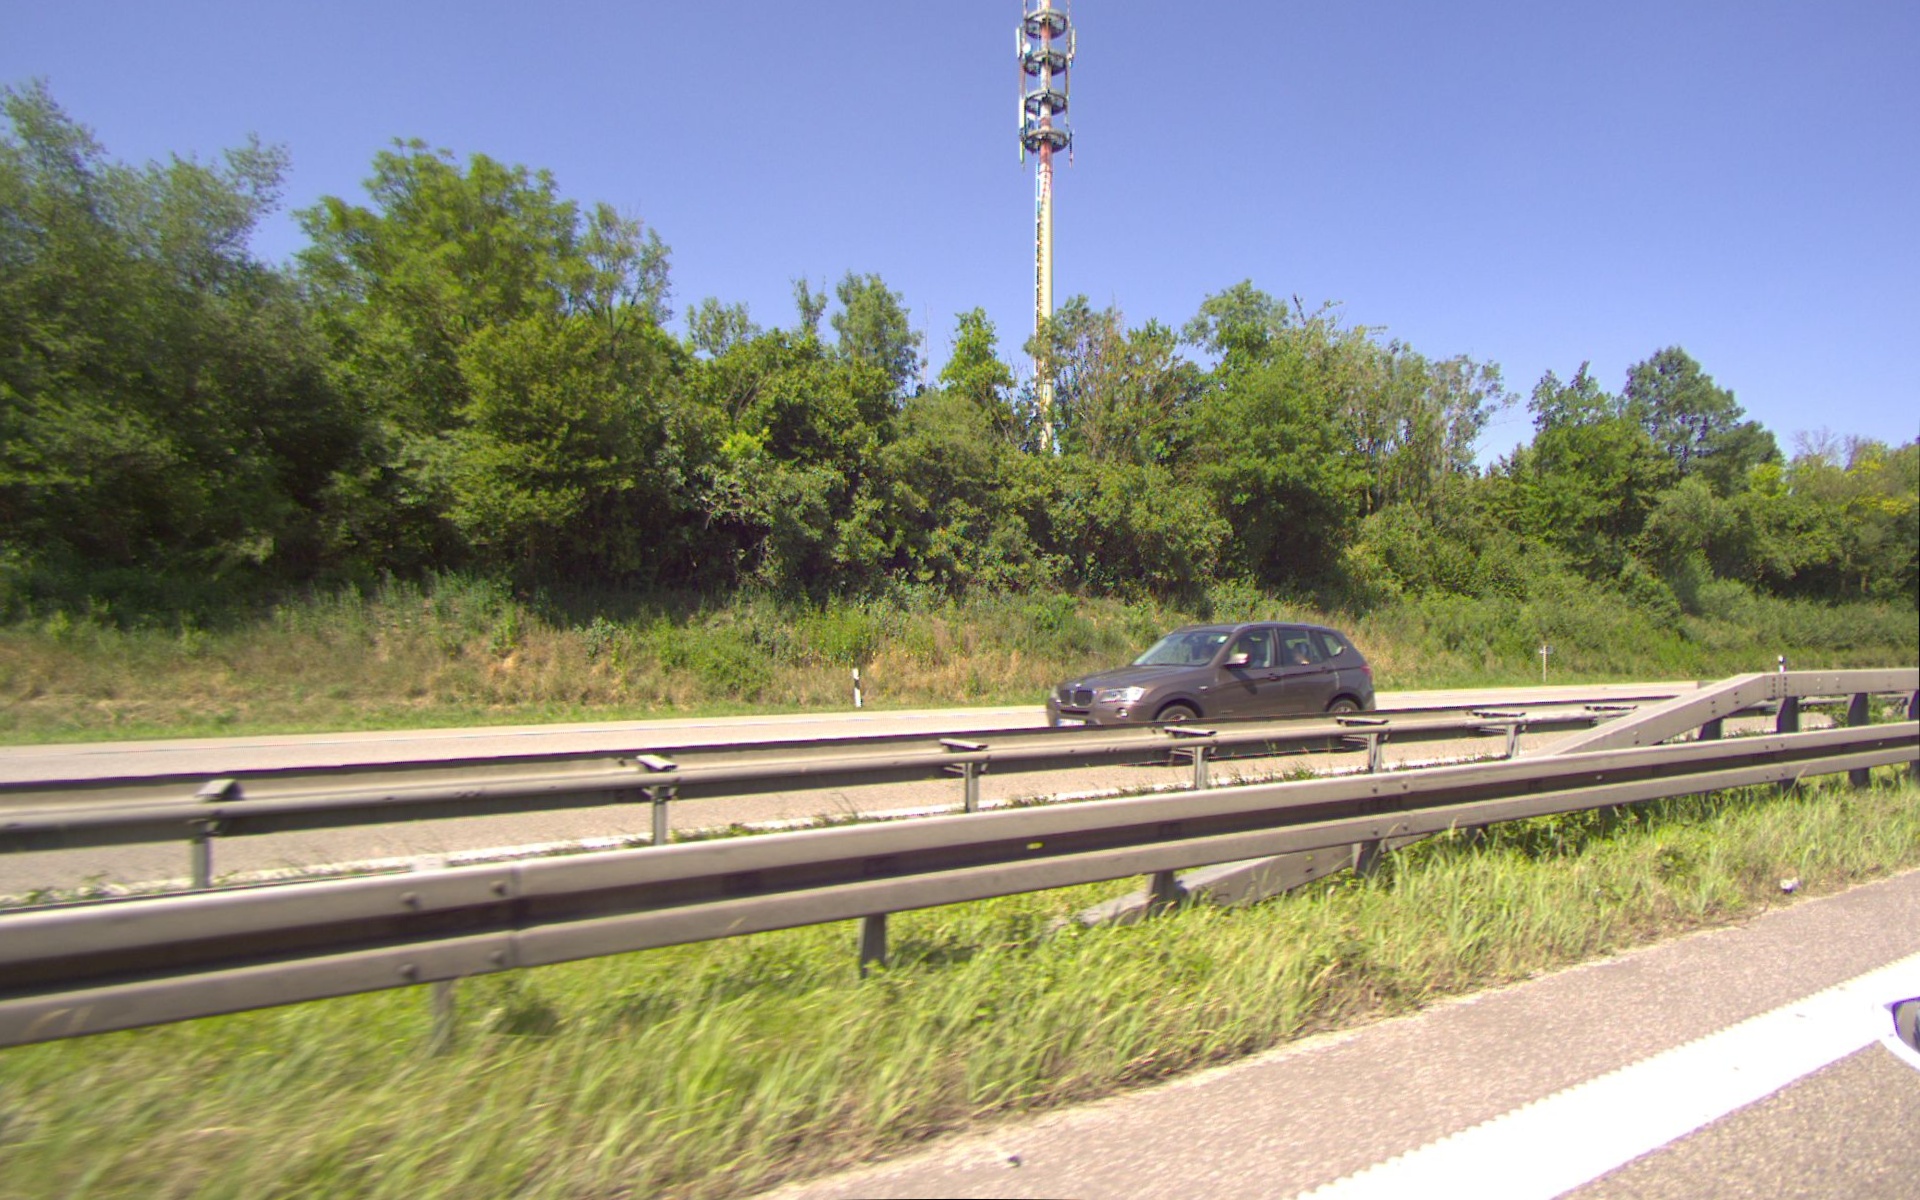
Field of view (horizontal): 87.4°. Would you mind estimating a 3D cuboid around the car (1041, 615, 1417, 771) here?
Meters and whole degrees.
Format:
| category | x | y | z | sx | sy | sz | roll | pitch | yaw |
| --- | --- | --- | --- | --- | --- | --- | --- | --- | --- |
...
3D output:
| category | x | y | z | sx | sy | sz | roll | pitch | yaw |
| --- | --- | --- | --- | --- | --- | --- | --- | --- | --- |
| car | 3.489 | 1.091 | 12.760 | 4.744 | 1.663 | 1.799 | 1 | -4 | -31 |
